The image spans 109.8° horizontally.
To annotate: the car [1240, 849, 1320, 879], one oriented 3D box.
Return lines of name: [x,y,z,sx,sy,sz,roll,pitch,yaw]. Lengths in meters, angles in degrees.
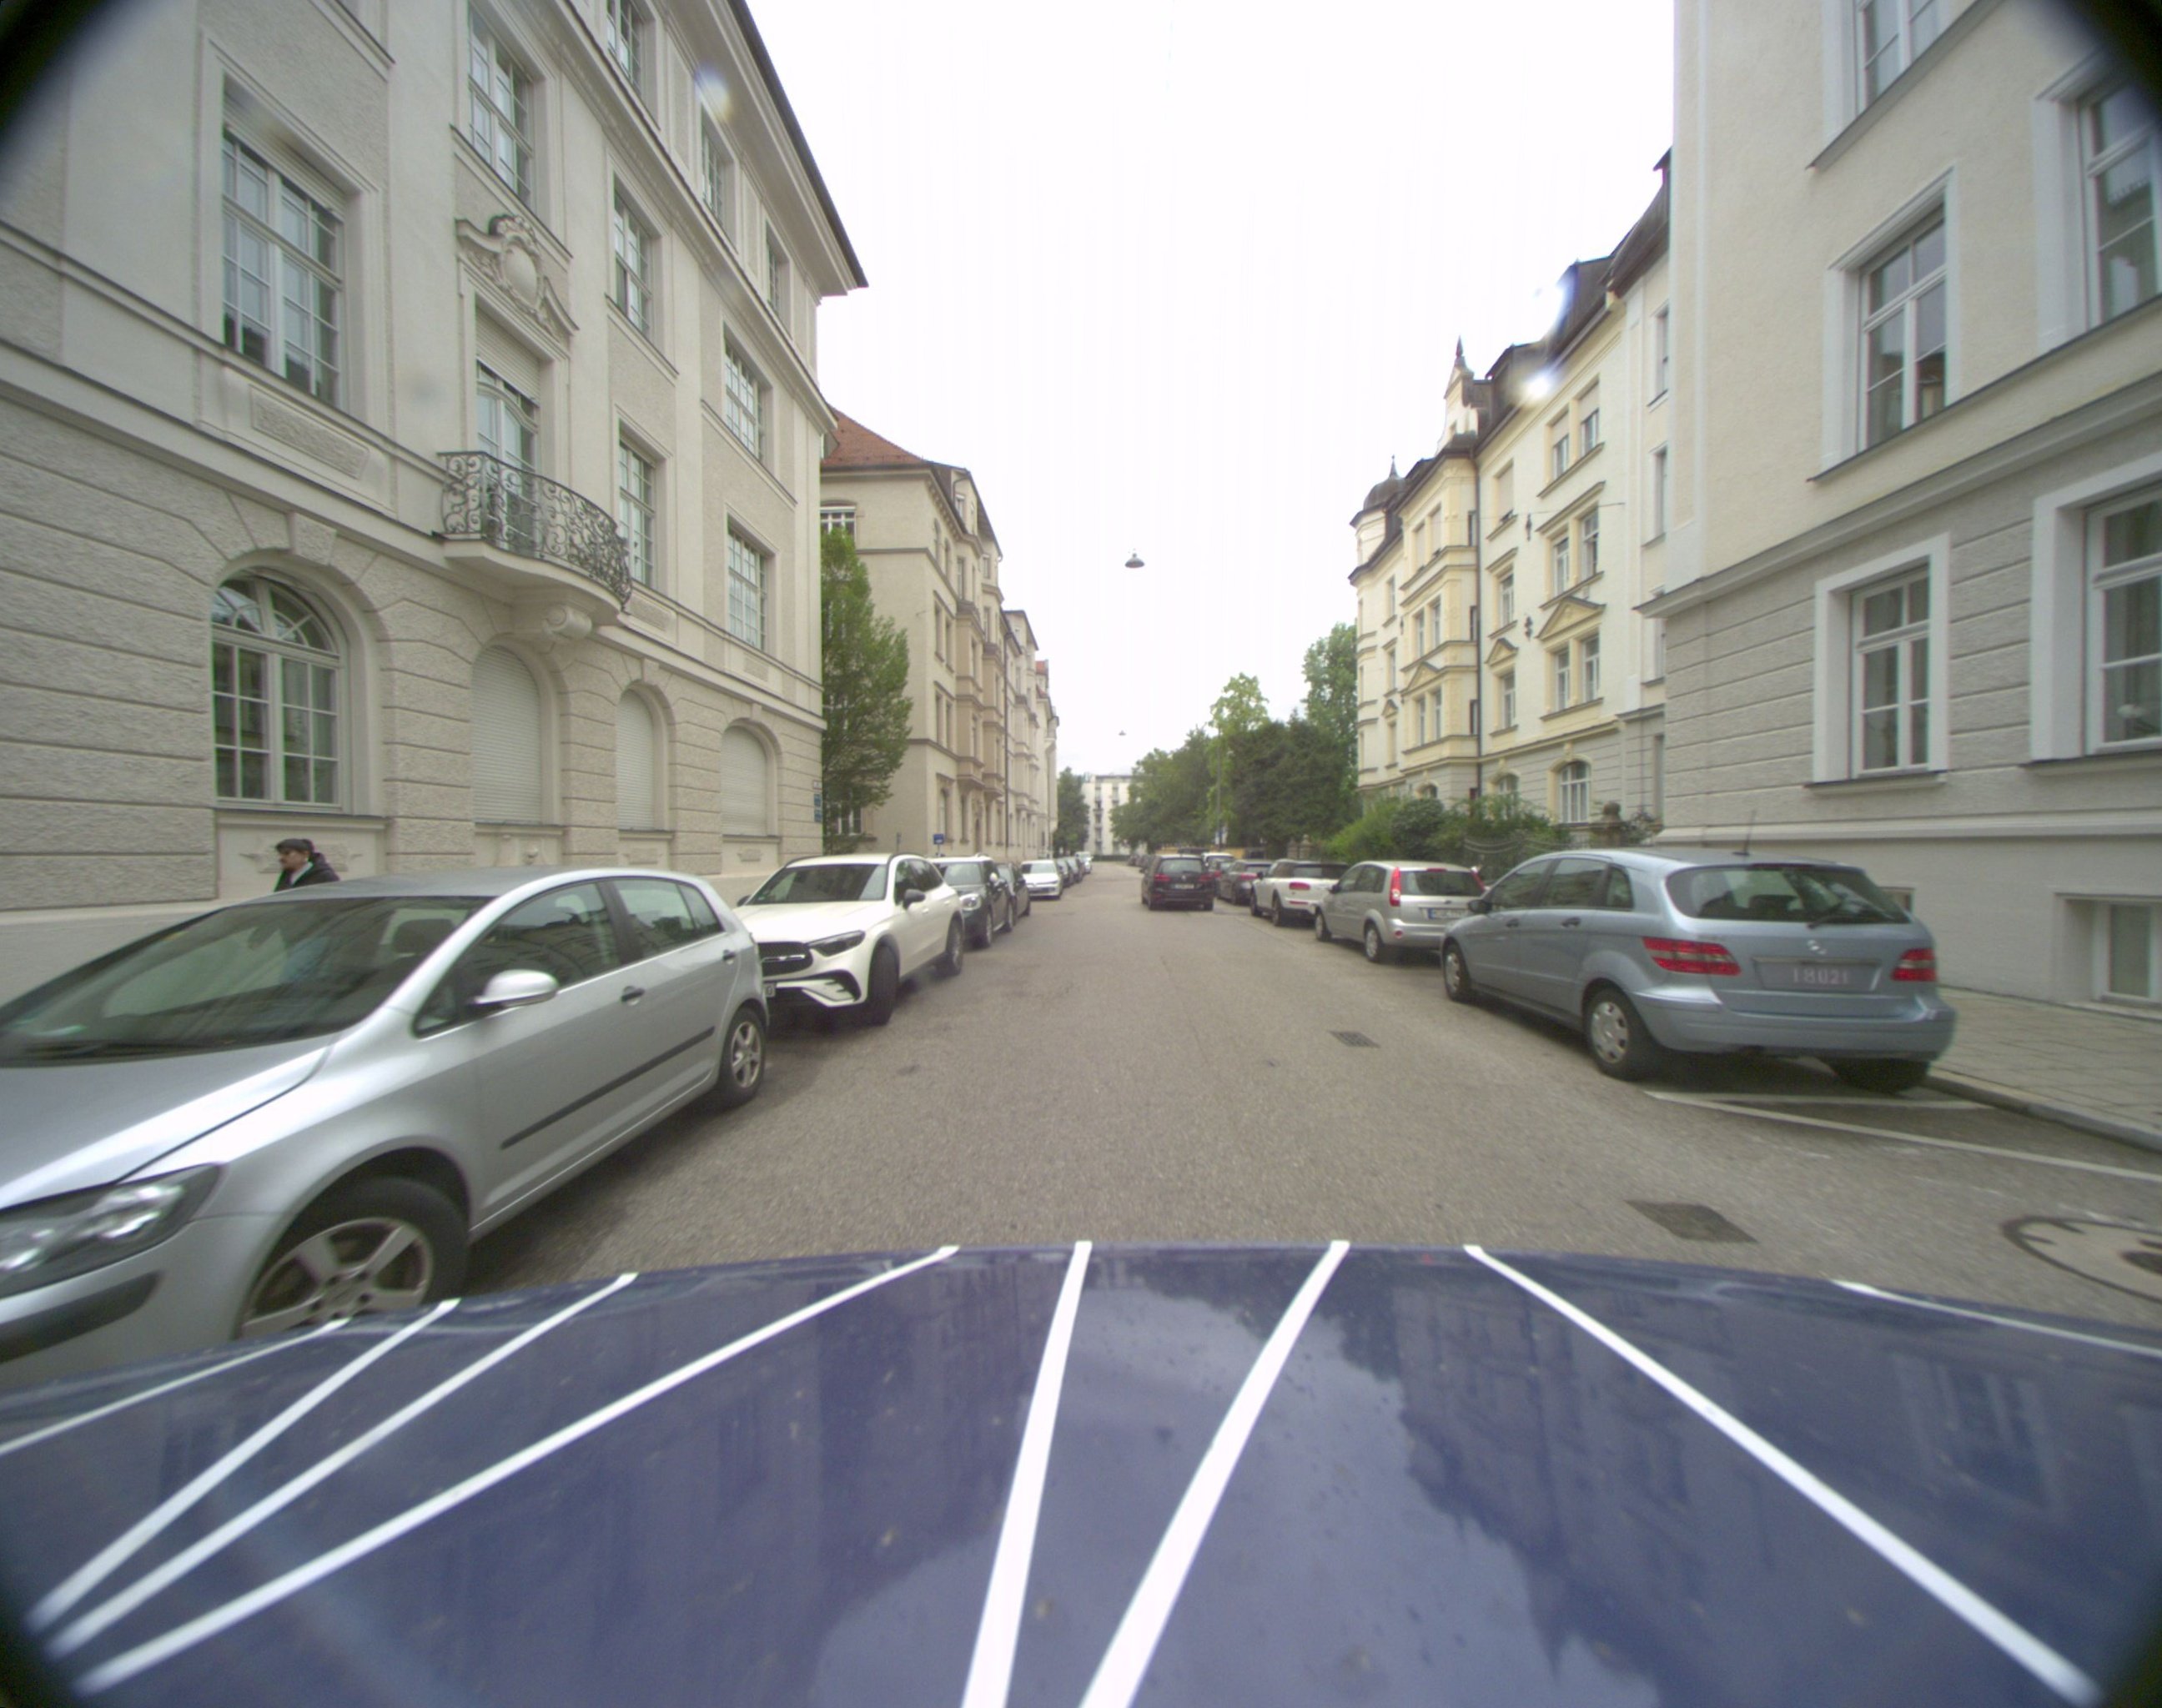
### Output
car: [12.719,0.611,48.741,4.519,1.847,2.054,0,0,-4]

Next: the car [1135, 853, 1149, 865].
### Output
car: [8.096,0.638,100.869,1.653,1.552,3.930,1,0,1]

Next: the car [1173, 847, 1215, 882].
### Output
car: [6.485,0.542,44.153,1.916,1.876,4.817,1,1,3]

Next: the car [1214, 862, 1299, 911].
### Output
car: [5.543,0.981,24.464,1.739,1.357,4.193,1,0,0]

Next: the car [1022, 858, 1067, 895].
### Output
car: [-1.566,0.960,34.020,1.796,1.489,4.082,-3,0,0]

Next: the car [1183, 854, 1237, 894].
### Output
car: [5.807,0.848,34.634,1.810,1.638,4.486,1,0,2]

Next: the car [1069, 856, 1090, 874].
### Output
car: [-0.121,0.908,64.274,1.715,1.462,4.085,-2,0,0]

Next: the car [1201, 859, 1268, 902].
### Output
car: [5.812,0.955,29.173,1.773,1.412,3.999,0,1,0]

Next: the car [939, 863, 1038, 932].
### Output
car: [-2.146,0.985,18.713,1.715,1.443,4.225,-1,0,3]

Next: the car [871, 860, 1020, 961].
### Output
car: [-2.289,0.911,13.981,1.752,1.516,4.171,-1,0,3]

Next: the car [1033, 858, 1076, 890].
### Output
car: [-1.286,0.970,38.579,1.746,1.390,4.022,-3,1,4]

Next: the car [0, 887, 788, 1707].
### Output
car: [-2.924,1.007,3.289,1.712,1.492,4.000,-1,0,0]

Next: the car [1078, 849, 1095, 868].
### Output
car: [0.628,0.462,83.366,1.794,1.926,4.085,-2,0,0]

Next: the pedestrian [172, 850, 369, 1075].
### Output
pedestrian: [-6.491,0.819,6.130,0.684,1.669,0.812,2,0,2]

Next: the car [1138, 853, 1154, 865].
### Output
car: [8.267,0.605,96.726,1.653,1.552,3.930,1,0,1]

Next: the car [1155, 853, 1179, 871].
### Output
car: [7.599,0.683,67.424,1.704,1.483,3.956,1,0,1]

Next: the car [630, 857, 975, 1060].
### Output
car: [-2.568,0.863,8.317,1.900,1.626,4.393,0,-1,4]

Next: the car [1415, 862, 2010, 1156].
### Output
car: [4.469,0.898,6.353,1.700,1.571,4.062,2,0,3]

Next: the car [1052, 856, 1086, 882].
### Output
car: [-0.655,0.830,44.148,1.645,1.409,4.001,-1,0,4]

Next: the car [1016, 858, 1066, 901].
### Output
car: [-1.461,0.919,29.161,1.667,1.499,4.065,-1,0,0]

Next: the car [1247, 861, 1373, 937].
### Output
car: [5.025,0.924,17.236,1.801,1.426,4.080,-1,1,3]

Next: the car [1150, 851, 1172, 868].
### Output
car: [7.639,0.532,72.552,1.704,1.552,3.930,1,0,1]

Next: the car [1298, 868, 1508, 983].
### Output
car: [4.871,0.988,12.152,1.649,1.395,4.000,2,0,0]

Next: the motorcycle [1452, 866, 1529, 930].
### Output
motorcycle: [8.860,0.920,16.513,0.706,1.242,1.821,-2,1,2]

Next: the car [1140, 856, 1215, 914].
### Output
car: [2.693,0.850,22.010,1.728,1.524,4.086,0,-1,1]

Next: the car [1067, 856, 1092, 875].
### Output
car: [-0.104,0.875,58.954,1.714,1.382,4.001,-2,0,3]

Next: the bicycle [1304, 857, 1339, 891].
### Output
bicycle: [9.741,0.788,30.849,0.757,1.289,2.531,1,0,4]
